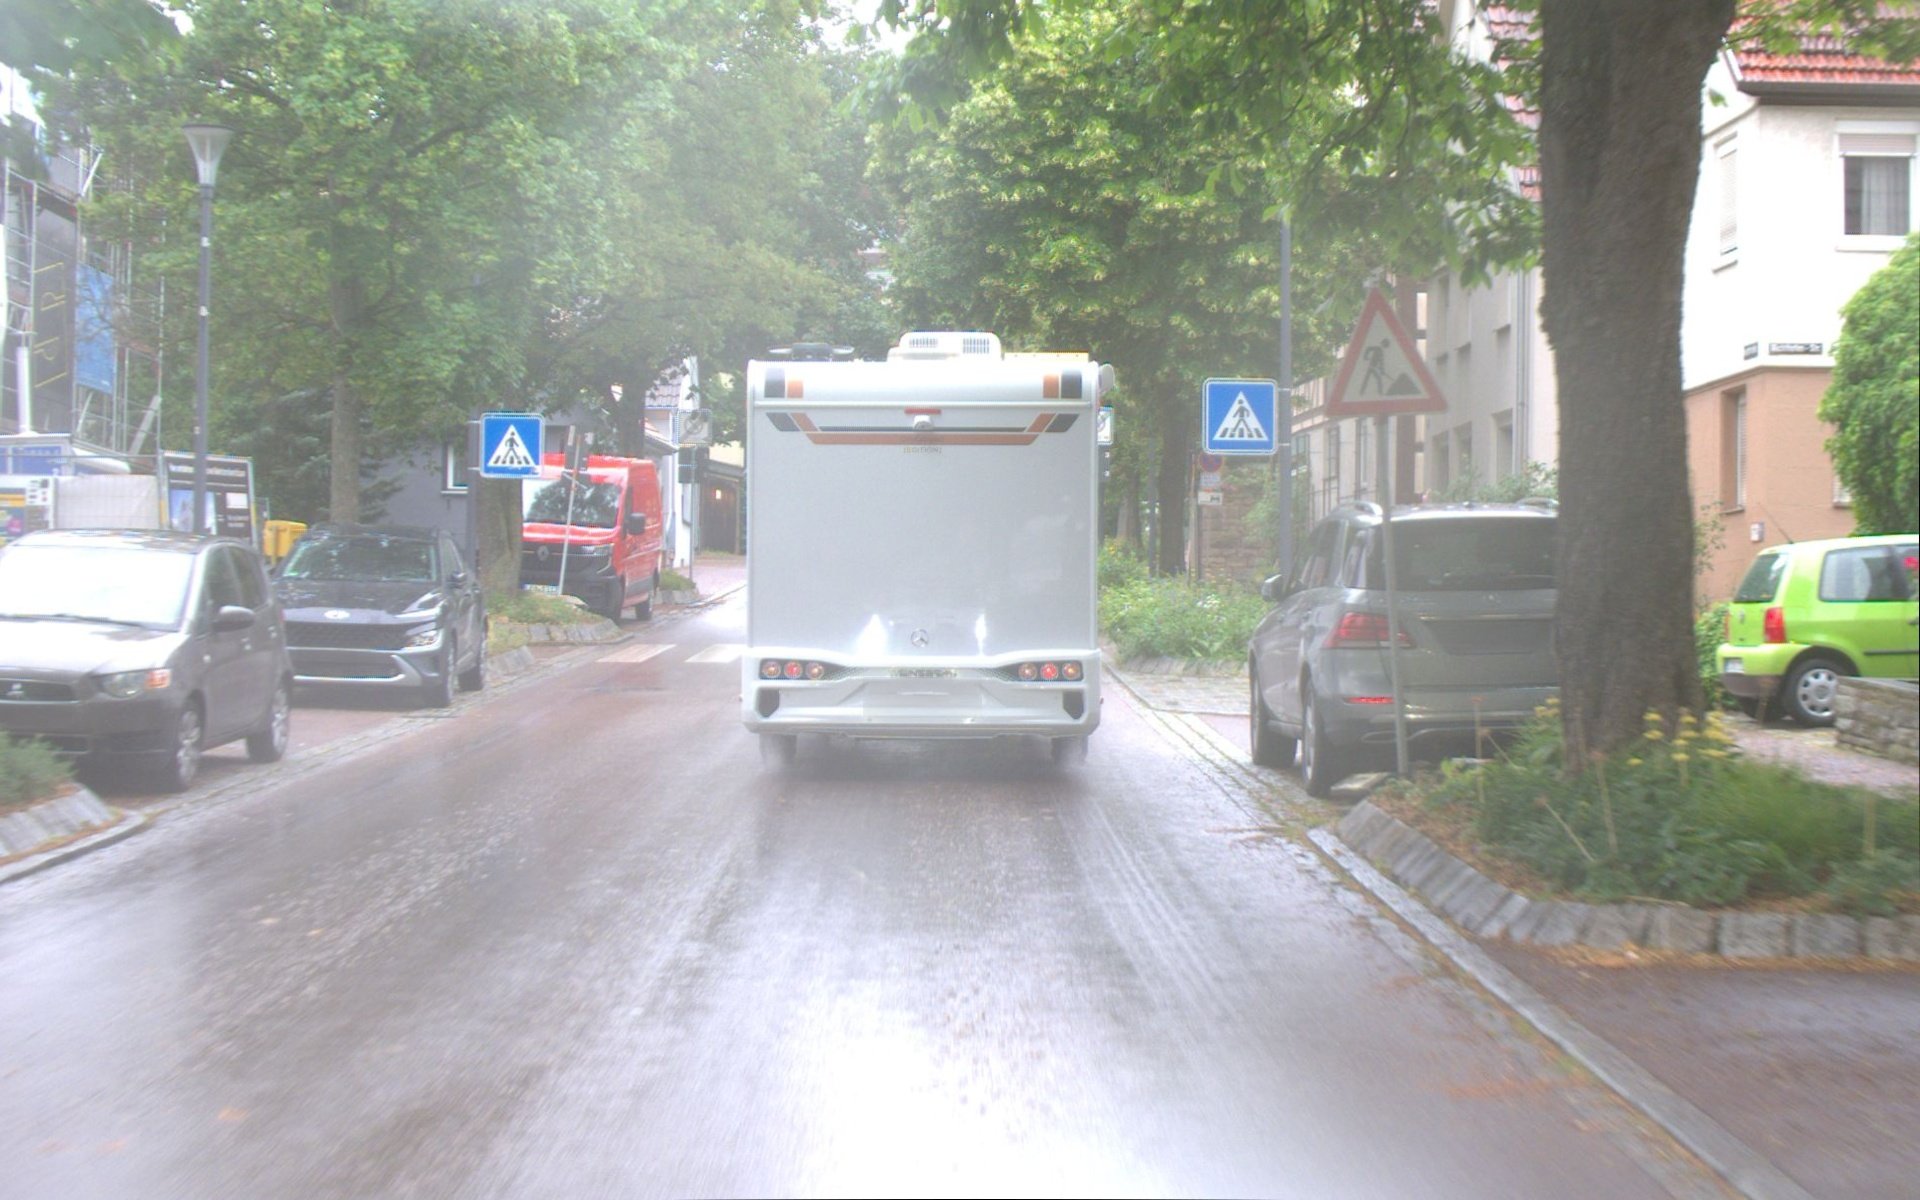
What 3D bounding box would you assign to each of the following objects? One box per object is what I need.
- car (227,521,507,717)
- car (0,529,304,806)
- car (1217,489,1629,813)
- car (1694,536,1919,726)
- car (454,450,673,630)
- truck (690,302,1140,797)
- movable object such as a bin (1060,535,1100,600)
[{"bbox_3d":[-5.227,0.116,30.786,1.771,1.548,4.000,3,1,0],"label":"car"},{"bbox_3d":[-5.391,0.347,21.638,1.647,1.528,3.865,2,1,2],"label":"car"},{"bbox_3d":[2.773,0.250,21.598,1.914,1.786,4.489,1,1,0],"label":"car"},{"bbox_3d":[7.692,0.212,27.180,3.364,1.425,1.631,-1,1,-3],"label":"car"},{"bbox_3d":[-5.797,-0.935,51.032,2.303,2.474,5.785,1,2,2],"label":"car"},{"bbox_3d":[-0.290,-0.348,24.197,2.694,2.975,6.237,1,1,0],"label":"truck"},{"bbox_3d":[2.270,-0.624,65.245,0.721,1.208,0.727,1,1,0],"label":"movable object such as a bin"}]
